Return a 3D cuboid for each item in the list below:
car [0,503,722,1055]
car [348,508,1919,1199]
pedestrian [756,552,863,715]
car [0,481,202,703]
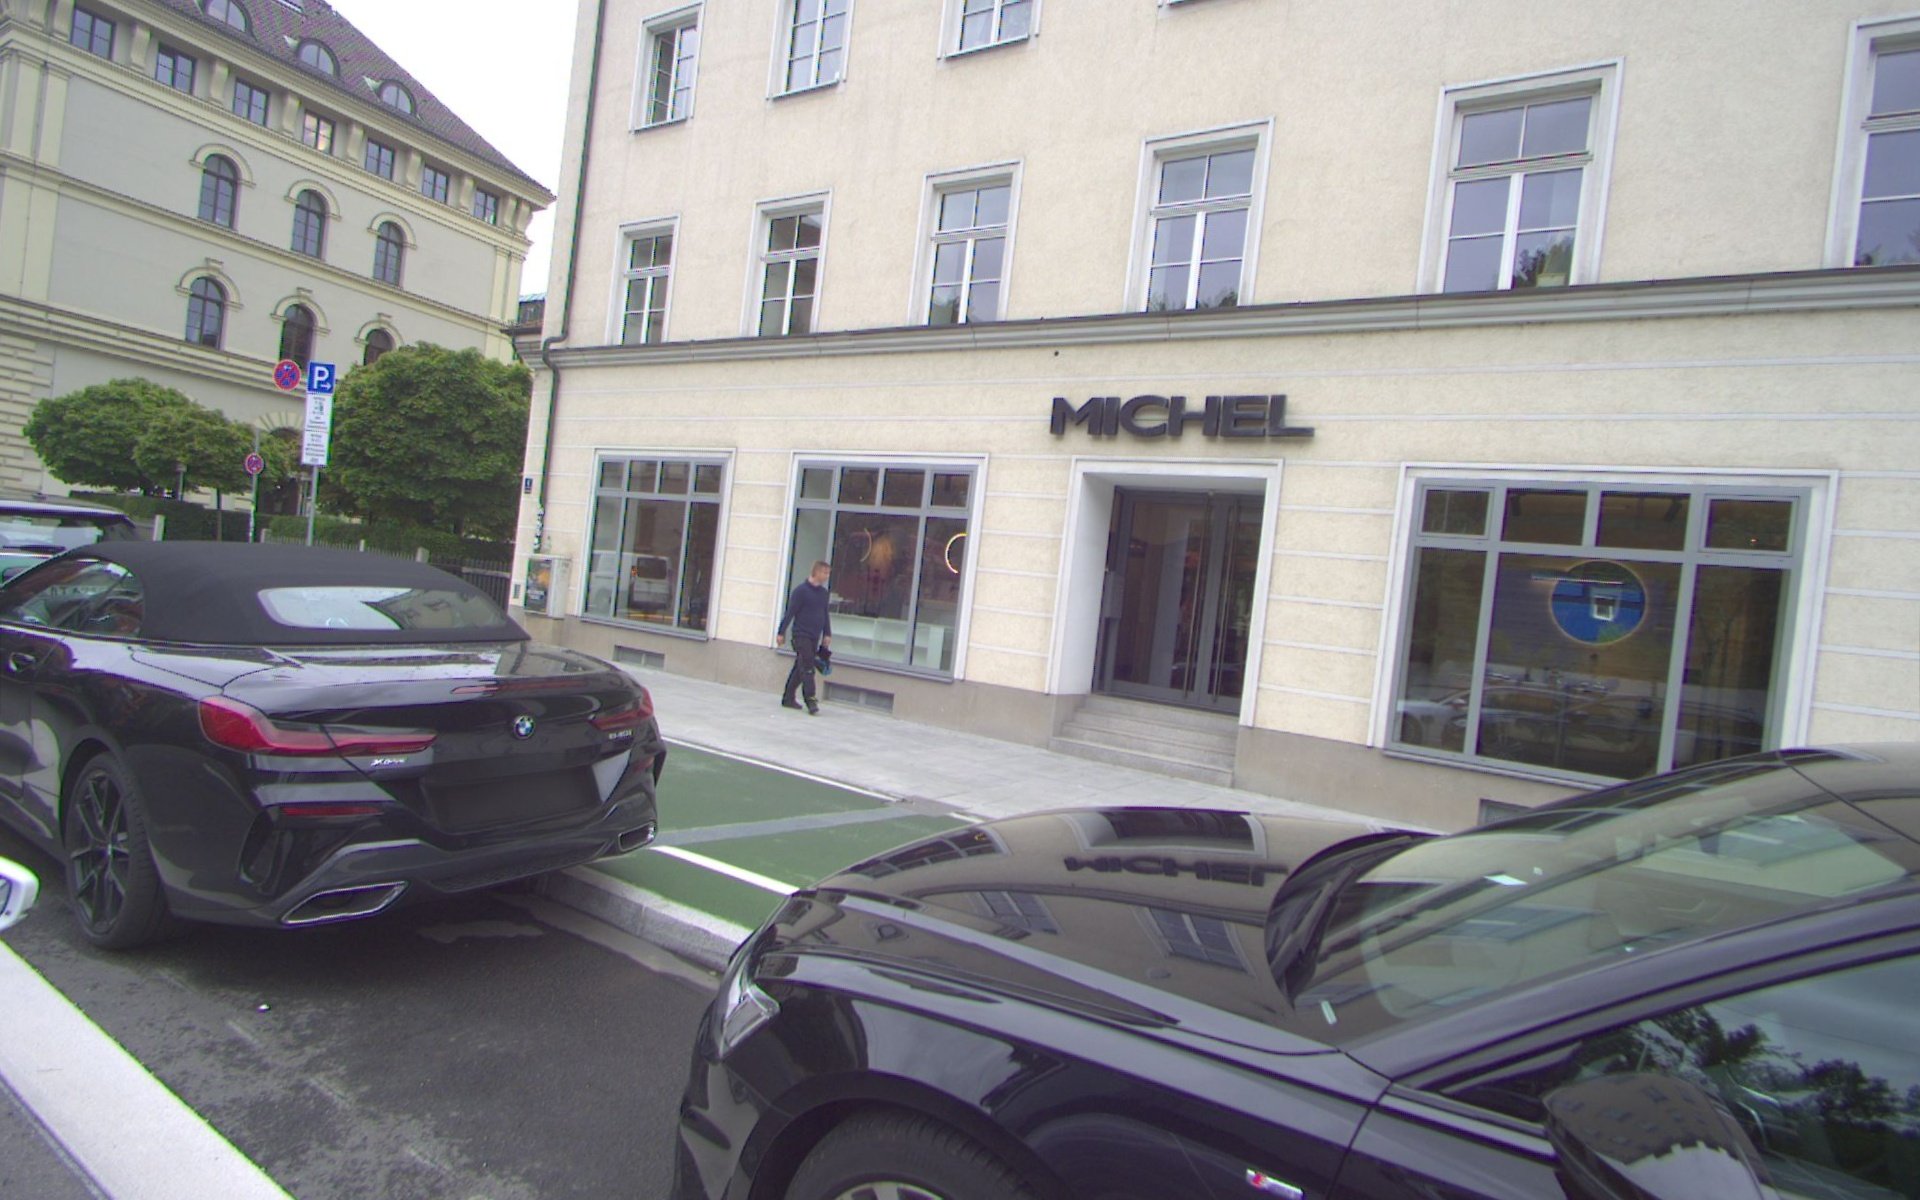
[{"bbox_3d":[-3.344,0.419,4.660,4.353,1.402,1.683,7,-1,32],"label":"car"},{"bbox_3d":[1.250,0.868,1.690,4.607,1.498,1.805,7,0,30],"label":"car"},{"bbox_3d":[-1.833,0.414,12.297,0.764,1.859,0.791,8,1,33],"label":"pedestrian"},{"bbox_3d":[-7.787,-0.193,8.027,3.368,1.514,1.612,7,0,32],"label":"car"}]
